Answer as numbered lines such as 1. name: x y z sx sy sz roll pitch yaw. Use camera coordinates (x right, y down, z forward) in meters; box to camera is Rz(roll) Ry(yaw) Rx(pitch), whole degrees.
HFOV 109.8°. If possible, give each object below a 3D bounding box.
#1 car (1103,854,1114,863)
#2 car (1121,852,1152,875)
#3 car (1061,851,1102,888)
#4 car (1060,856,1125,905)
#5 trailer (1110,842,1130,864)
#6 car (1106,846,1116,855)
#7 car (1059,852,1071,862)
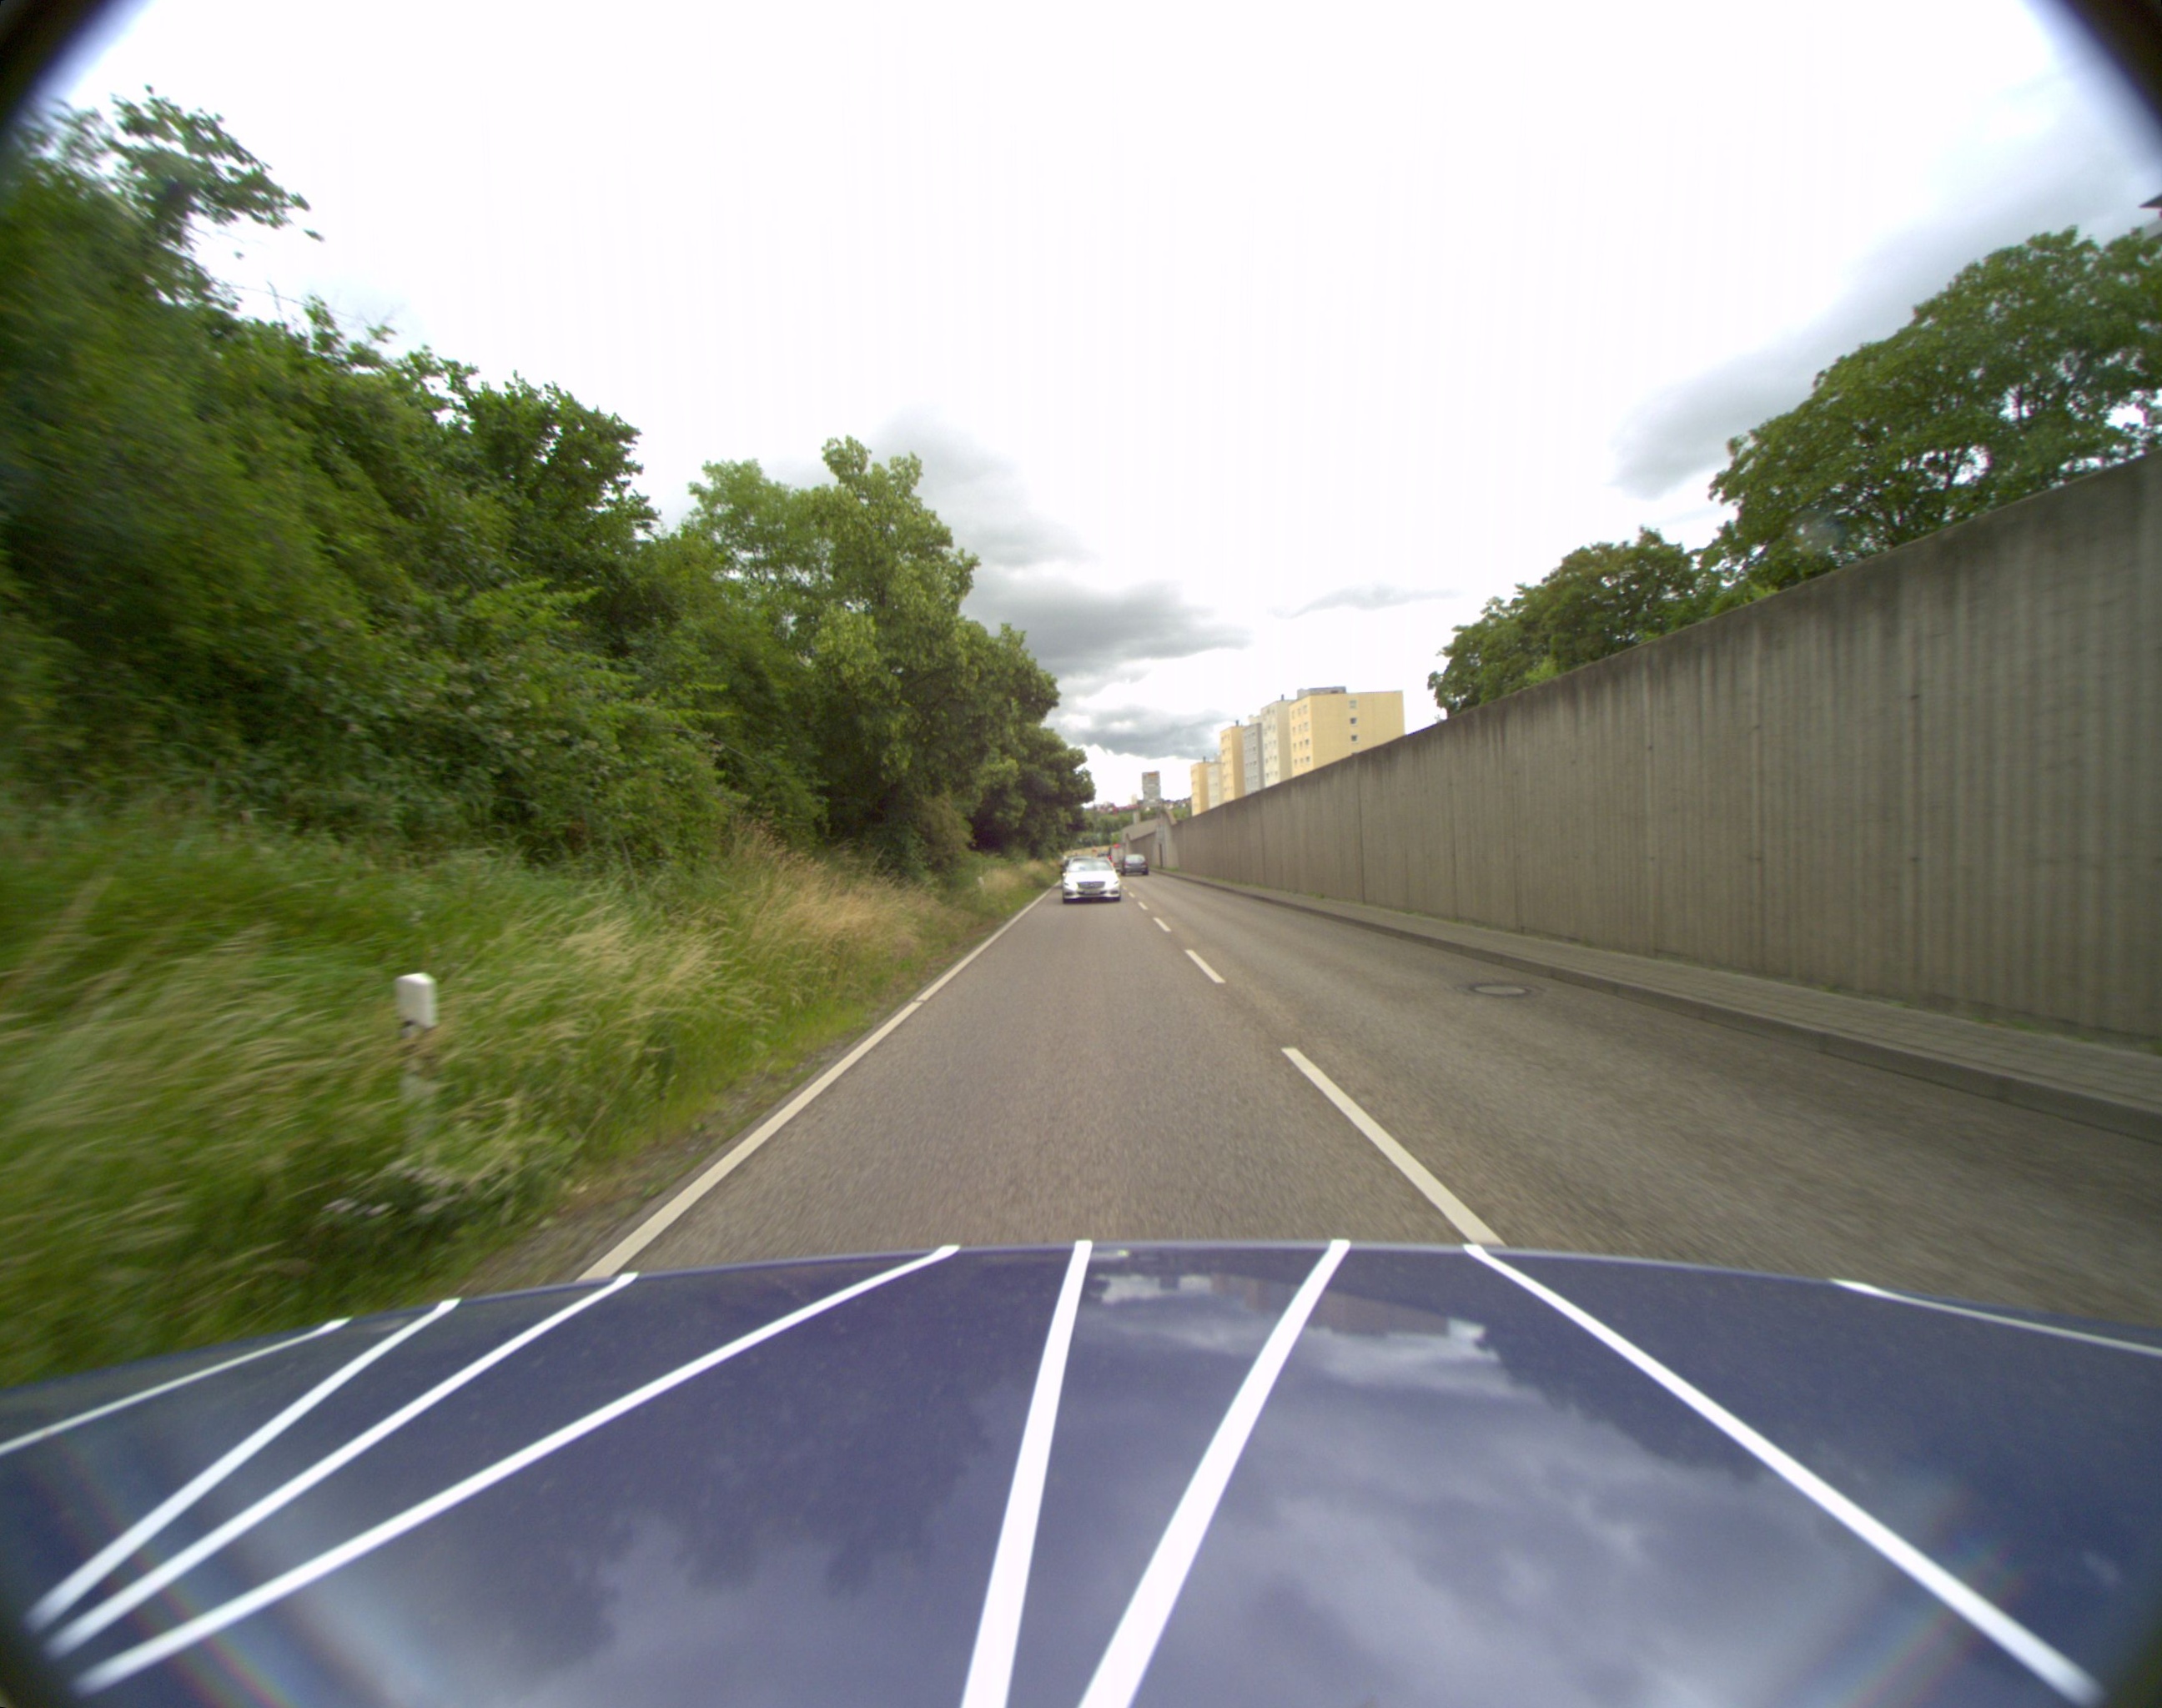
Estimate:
1. car: 4.609 0.711 128.005 1.772 1.487 4.208 -3 0 0
2. car: 3.925 0.640 54.005 1.897 1.475 4.823 -2 0 1
3. car: -0.025 0.729 37.766 1.759 1.532 3.998 -6 1 -2
4. car: 0.307 0.844 25.794 1.905 1.471 4.093 -2 0 -3
5. trailer: 4.753 -0.109 93.202 2.115 2.615 4.372 -2 0 1
6. car: 5.651 -0.621 142.845 1.920 1.487 4.208 -3 0 2
7. car: -2.763 0.525 134.083 1.895 1.623 4.424 -3 2 0
